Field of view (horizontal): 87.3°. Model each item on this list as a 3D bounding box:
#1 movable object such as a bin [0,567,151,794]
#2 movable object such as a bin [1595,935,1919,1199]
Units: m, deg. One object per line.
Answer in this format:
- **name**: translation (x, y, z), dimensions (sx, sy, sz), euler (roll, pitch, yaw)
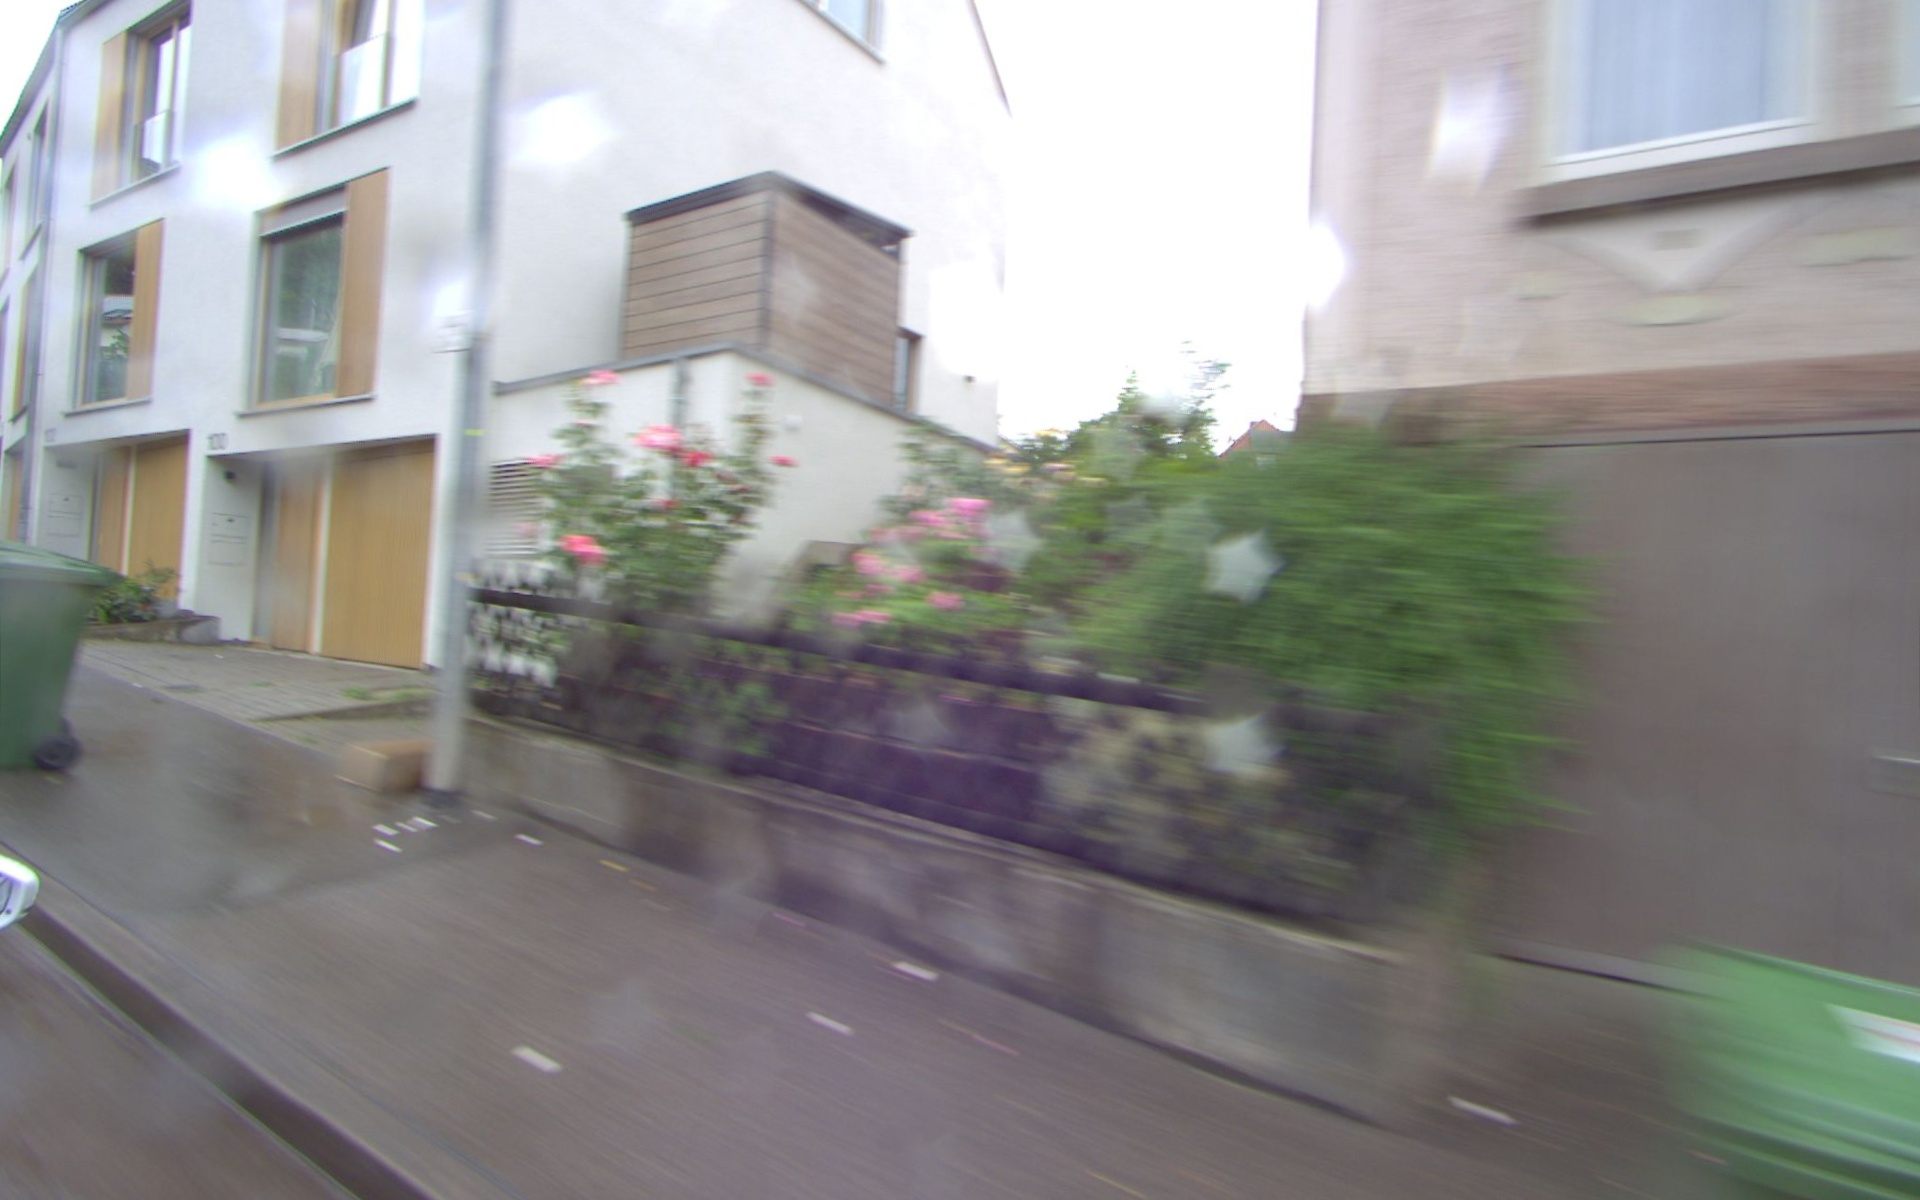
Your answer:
- **movable object such as a bin**: translation (-4.906, 0.391, 5.208), dimensions (0.737, 1.073, 0.837), euler (7, -1, 32)
- **movable object such as a bin**: translation (1.247, 1.147, 1.287), dimensions (0.748, 1.083, 0.797), euler (7, -1, 33)
